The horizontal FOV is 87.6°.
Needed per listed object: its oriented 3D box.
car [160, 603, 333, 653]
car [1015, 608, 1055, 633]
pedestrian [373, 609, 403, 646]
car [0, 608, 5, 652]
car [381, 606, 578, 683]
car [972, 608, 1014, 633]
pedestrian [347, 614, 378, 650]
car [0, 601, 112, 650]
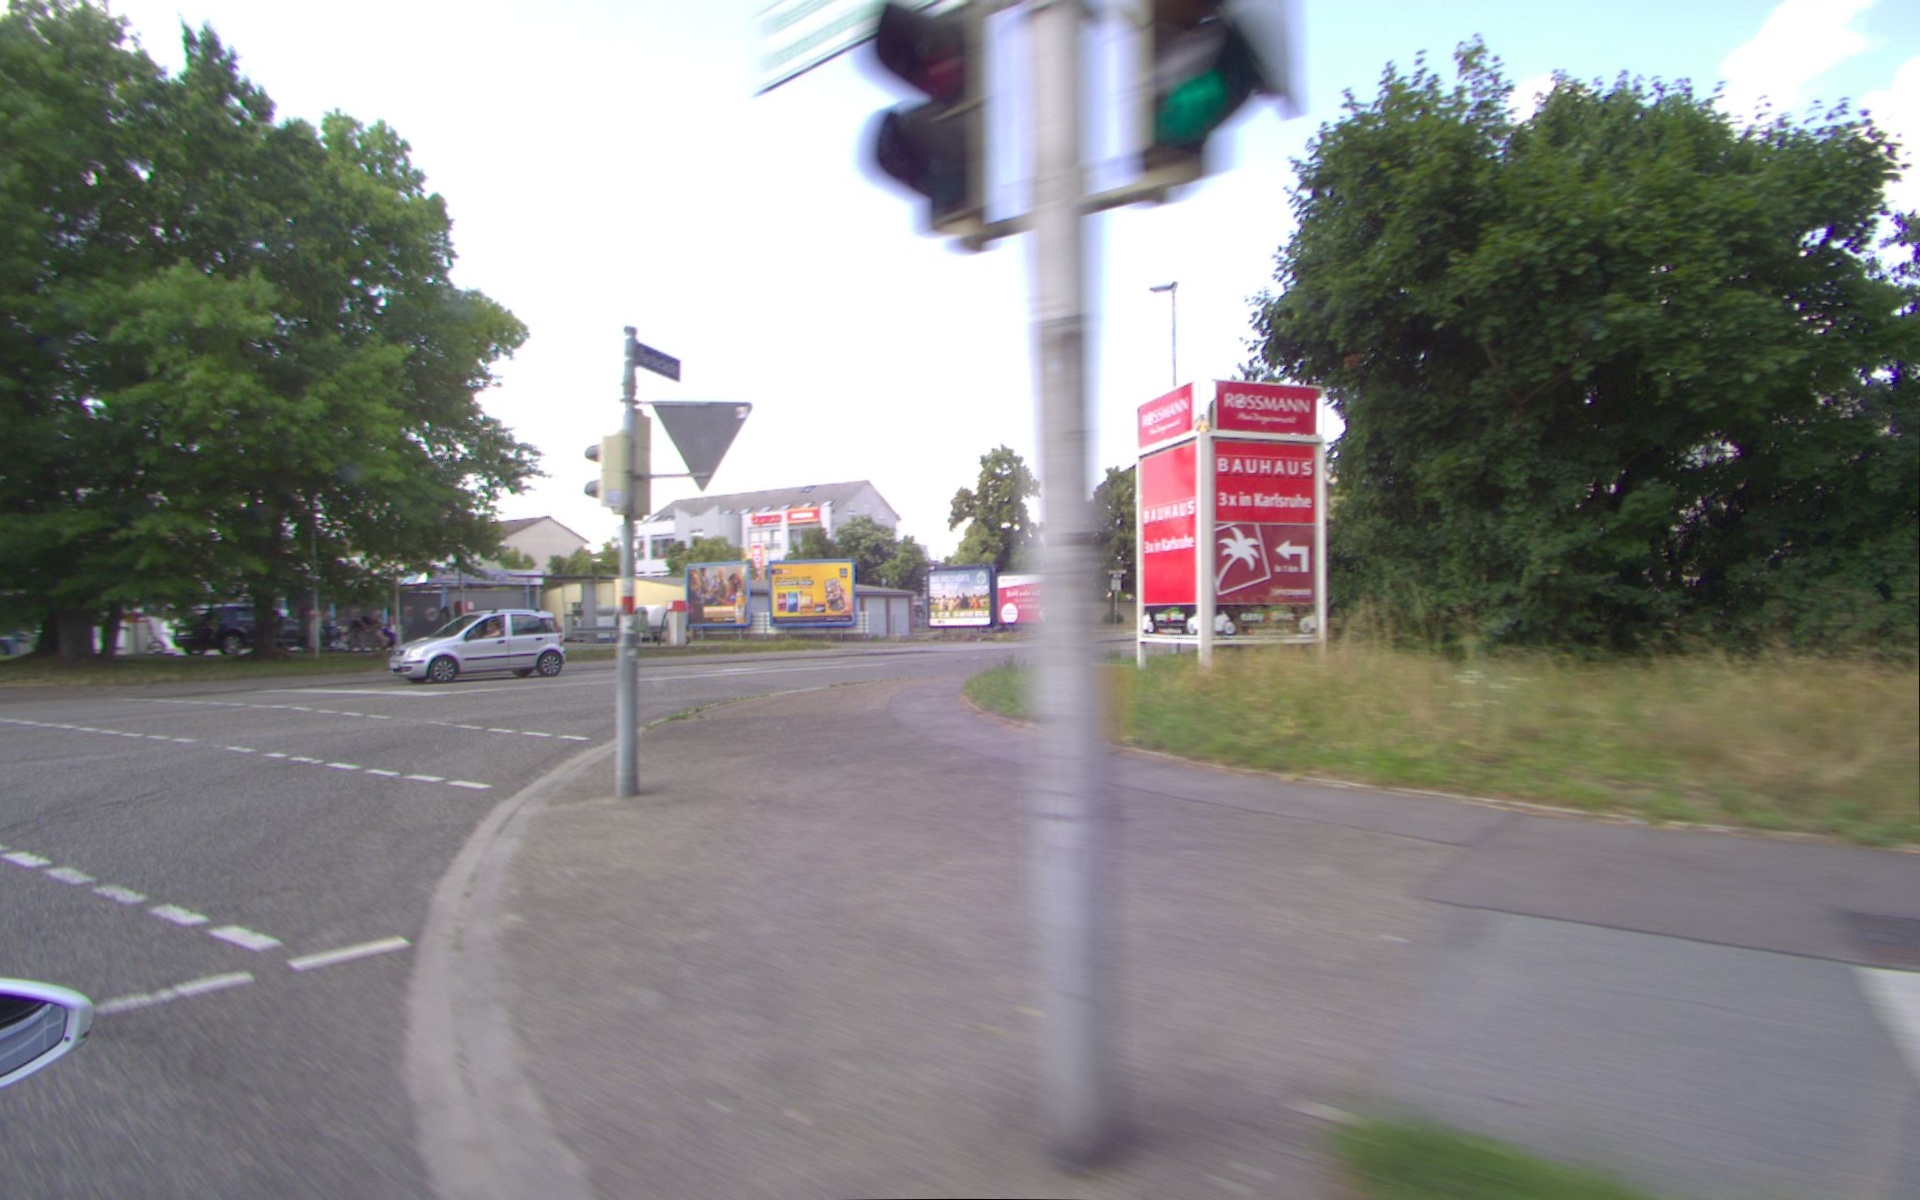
[{"bbox_3d":[-24.882,0.929,35.130,2.116,1.617,4.556,-1,-1,19],"label":"car"},{"bbox_3d":[5.415,1.450,71.858,1.625,1.558,3.886,-2,1,24],"label":"car"},{"bbox_3d":[-19.850,0.947,34.764,0.752,1.271,0.645,0,-2,-15],"label":"pedestrian"},{"bbox_3d":[-45.994,1.402,44.175,2.119,2.030,5.179,-1,0,25],"label":"car"},{"bbox_3d":[-10.482,0.922,22.006,1.542,1.537,3.578,-1,-1,42],"label":"car"},{"bbox_3d":[2.444,1.509,73.561,1.625,1.613,3.886,-2,1,24],"label":"car"},{"bbox_3d":[-20.631,1.111,34.593,0.752,1.204,0.645,0,-2,-15],"label":"pedestrian"},{"bbox_3d":[-36.576,0.979,38.919,2.116,1.851,5.188,-1,-1,19],"label":"car"}]
